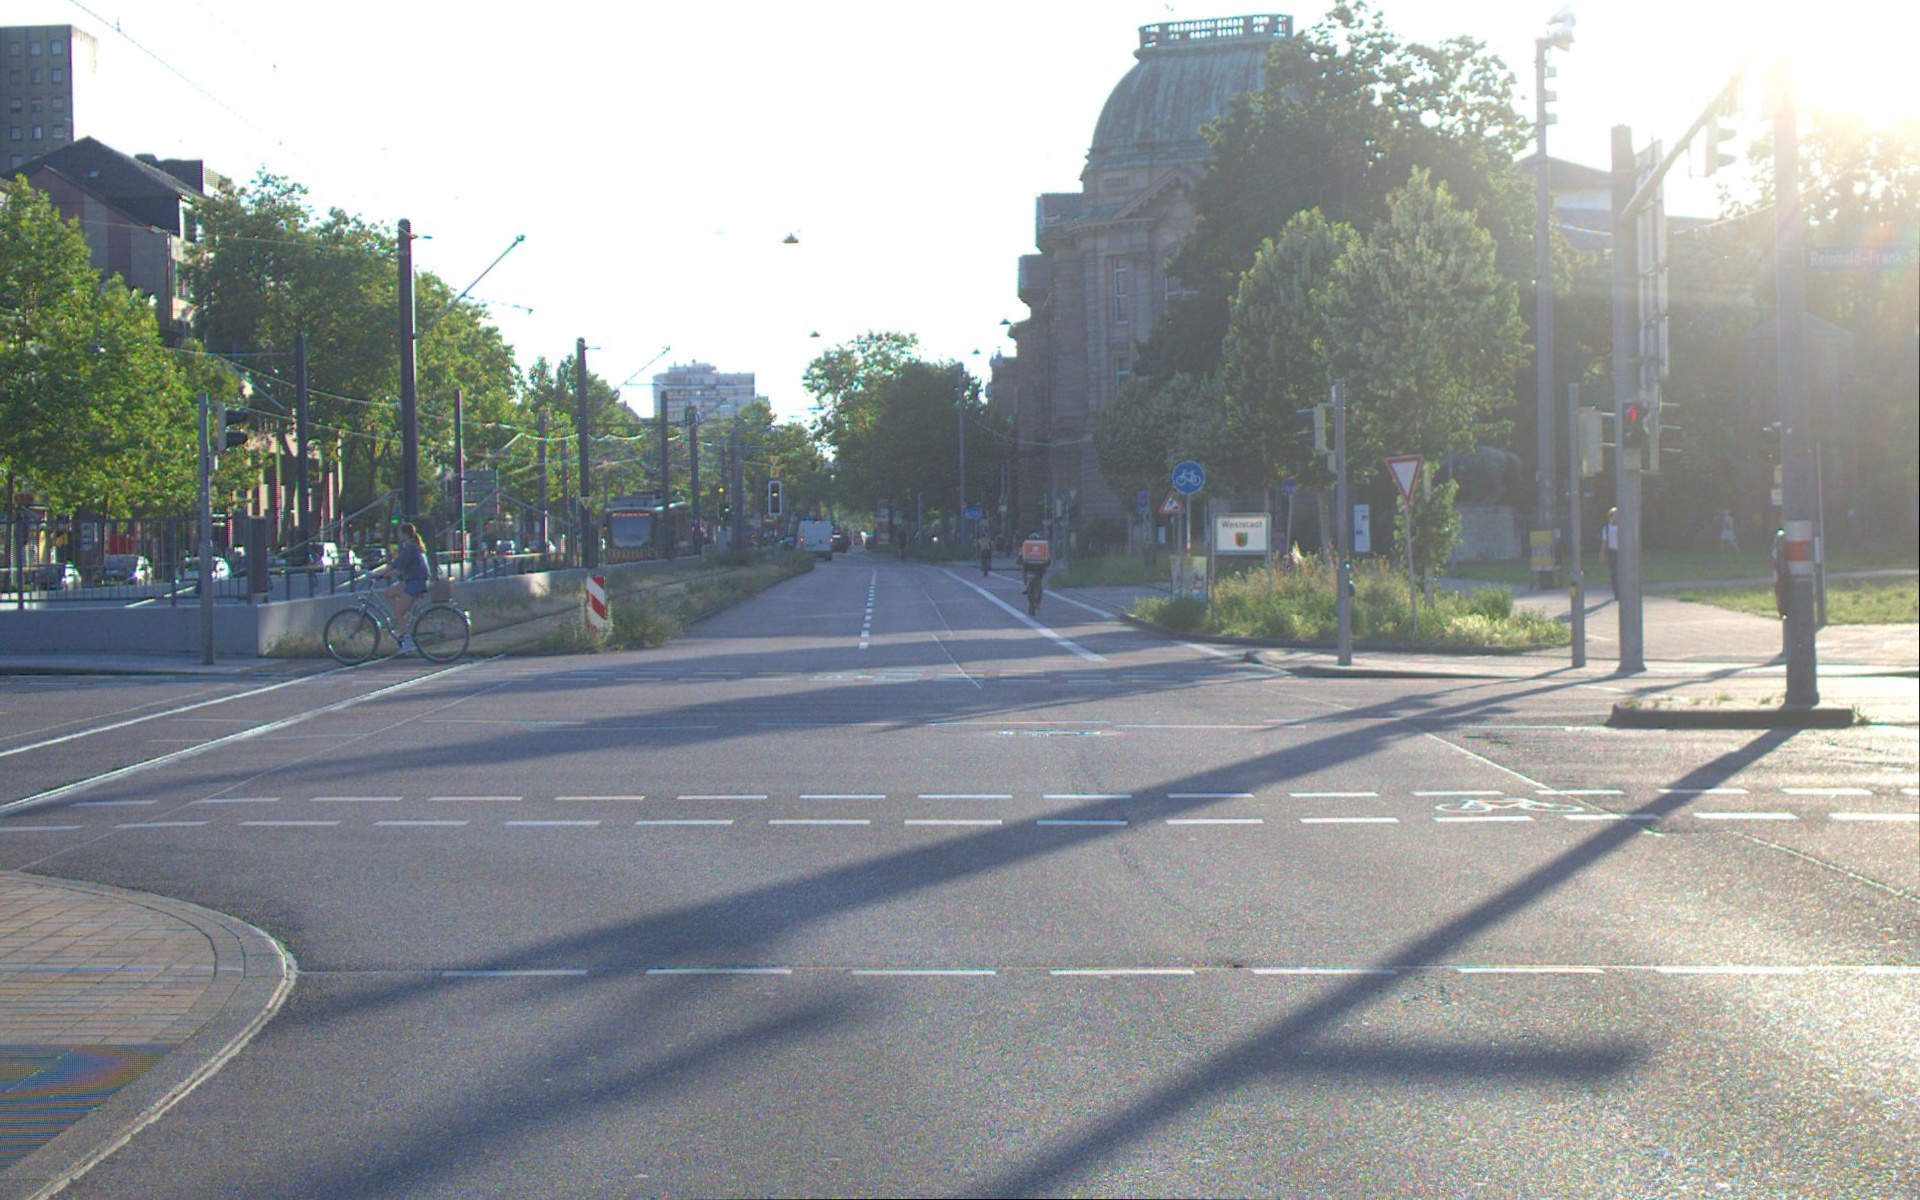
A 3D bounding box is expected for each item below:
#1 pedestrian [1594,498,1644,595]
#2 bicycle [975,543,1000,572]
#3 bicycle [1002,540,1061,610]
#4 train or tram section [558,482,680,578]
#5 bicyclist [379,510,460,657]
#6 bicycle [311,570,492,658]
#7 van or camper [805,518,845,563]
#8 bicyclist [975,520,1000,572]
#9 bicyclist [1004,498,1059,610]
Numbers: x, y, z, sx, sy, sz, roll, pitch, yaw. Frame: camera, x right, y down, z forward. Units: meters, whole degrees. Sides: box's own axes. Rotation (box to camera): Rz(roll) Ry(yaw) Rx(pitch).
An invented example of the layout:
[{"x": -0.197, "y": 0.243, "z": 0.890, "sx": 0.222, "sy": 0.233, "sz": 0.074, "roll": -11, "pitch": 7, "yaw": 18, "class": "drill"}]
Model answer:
[{"x": 12.276, "y": -0.999, "z": 64.041, "sx": 0.833, "sy": 1.797, "sz": 0.810, "roll": -1, "pitch": 1, "yaw": 15, "class": "pedestrian"}, {"x": 1.063, "y": -1.634, "z": 132.926, "sx": 0.924, "sy": 1.108, "sz": 2.333, "roll": -1, "pitch": 1, "yaw": -1, "class": "bicycle"}, {"x": 1.461, "y": -0.527, "z": 70.580, "sx": 1.098, "sy": 1.394, "sz": 2.832, "roll": -1, "pitch": 1, "yaw": -1, "class": "bicycle"}, {"x": -15.020, "y": -3.199, "z": 152.521, "sx": 4.386, "sy": 3.836, "sz": 11.412, "roll": -1, "pitch": 3, "yaw": -1, "class": "train or tram section"}, {"x": -6.752, "y": -0.205, "z": 42.948, "sx": 0.876, "sy": 1.812, "sz": 0.538, "roll": -1, "pitch": 1, "yaw": 5, "class": "bicyclist"}, {"x": -6.971, "y": 0.175, "z": 42.976, "sx": 2.164, "sy": 1.080, "sz": 0.539, "roll": 0, "pitch": 0, "yaw": 5, "class": "bicycle"}, {"x": -8.450, "y": -3.713, "z": 215.324, "sx": 2.449, "sy": 2.761, "sz": 5.601, "roll": -1, "pitch": 1, "yaw": -2, "class": "van or camper"}, {"x": 1.059, "y": -2.098, "z": 133.044, "sx": 0.925, "sy": 2.007, "sz": 0.850, "roll": -1, "pitch": 1, "yaw": -1, "class": "bicyclist"}, {"x": 1.458, "y": -0.954, "z": 70.570, "sx": 1.082, "sy": 2.268, "sz": 0.986, "roll": 0, "pitch": 1, "yaw": -1, "class": "bicyclist"}]
